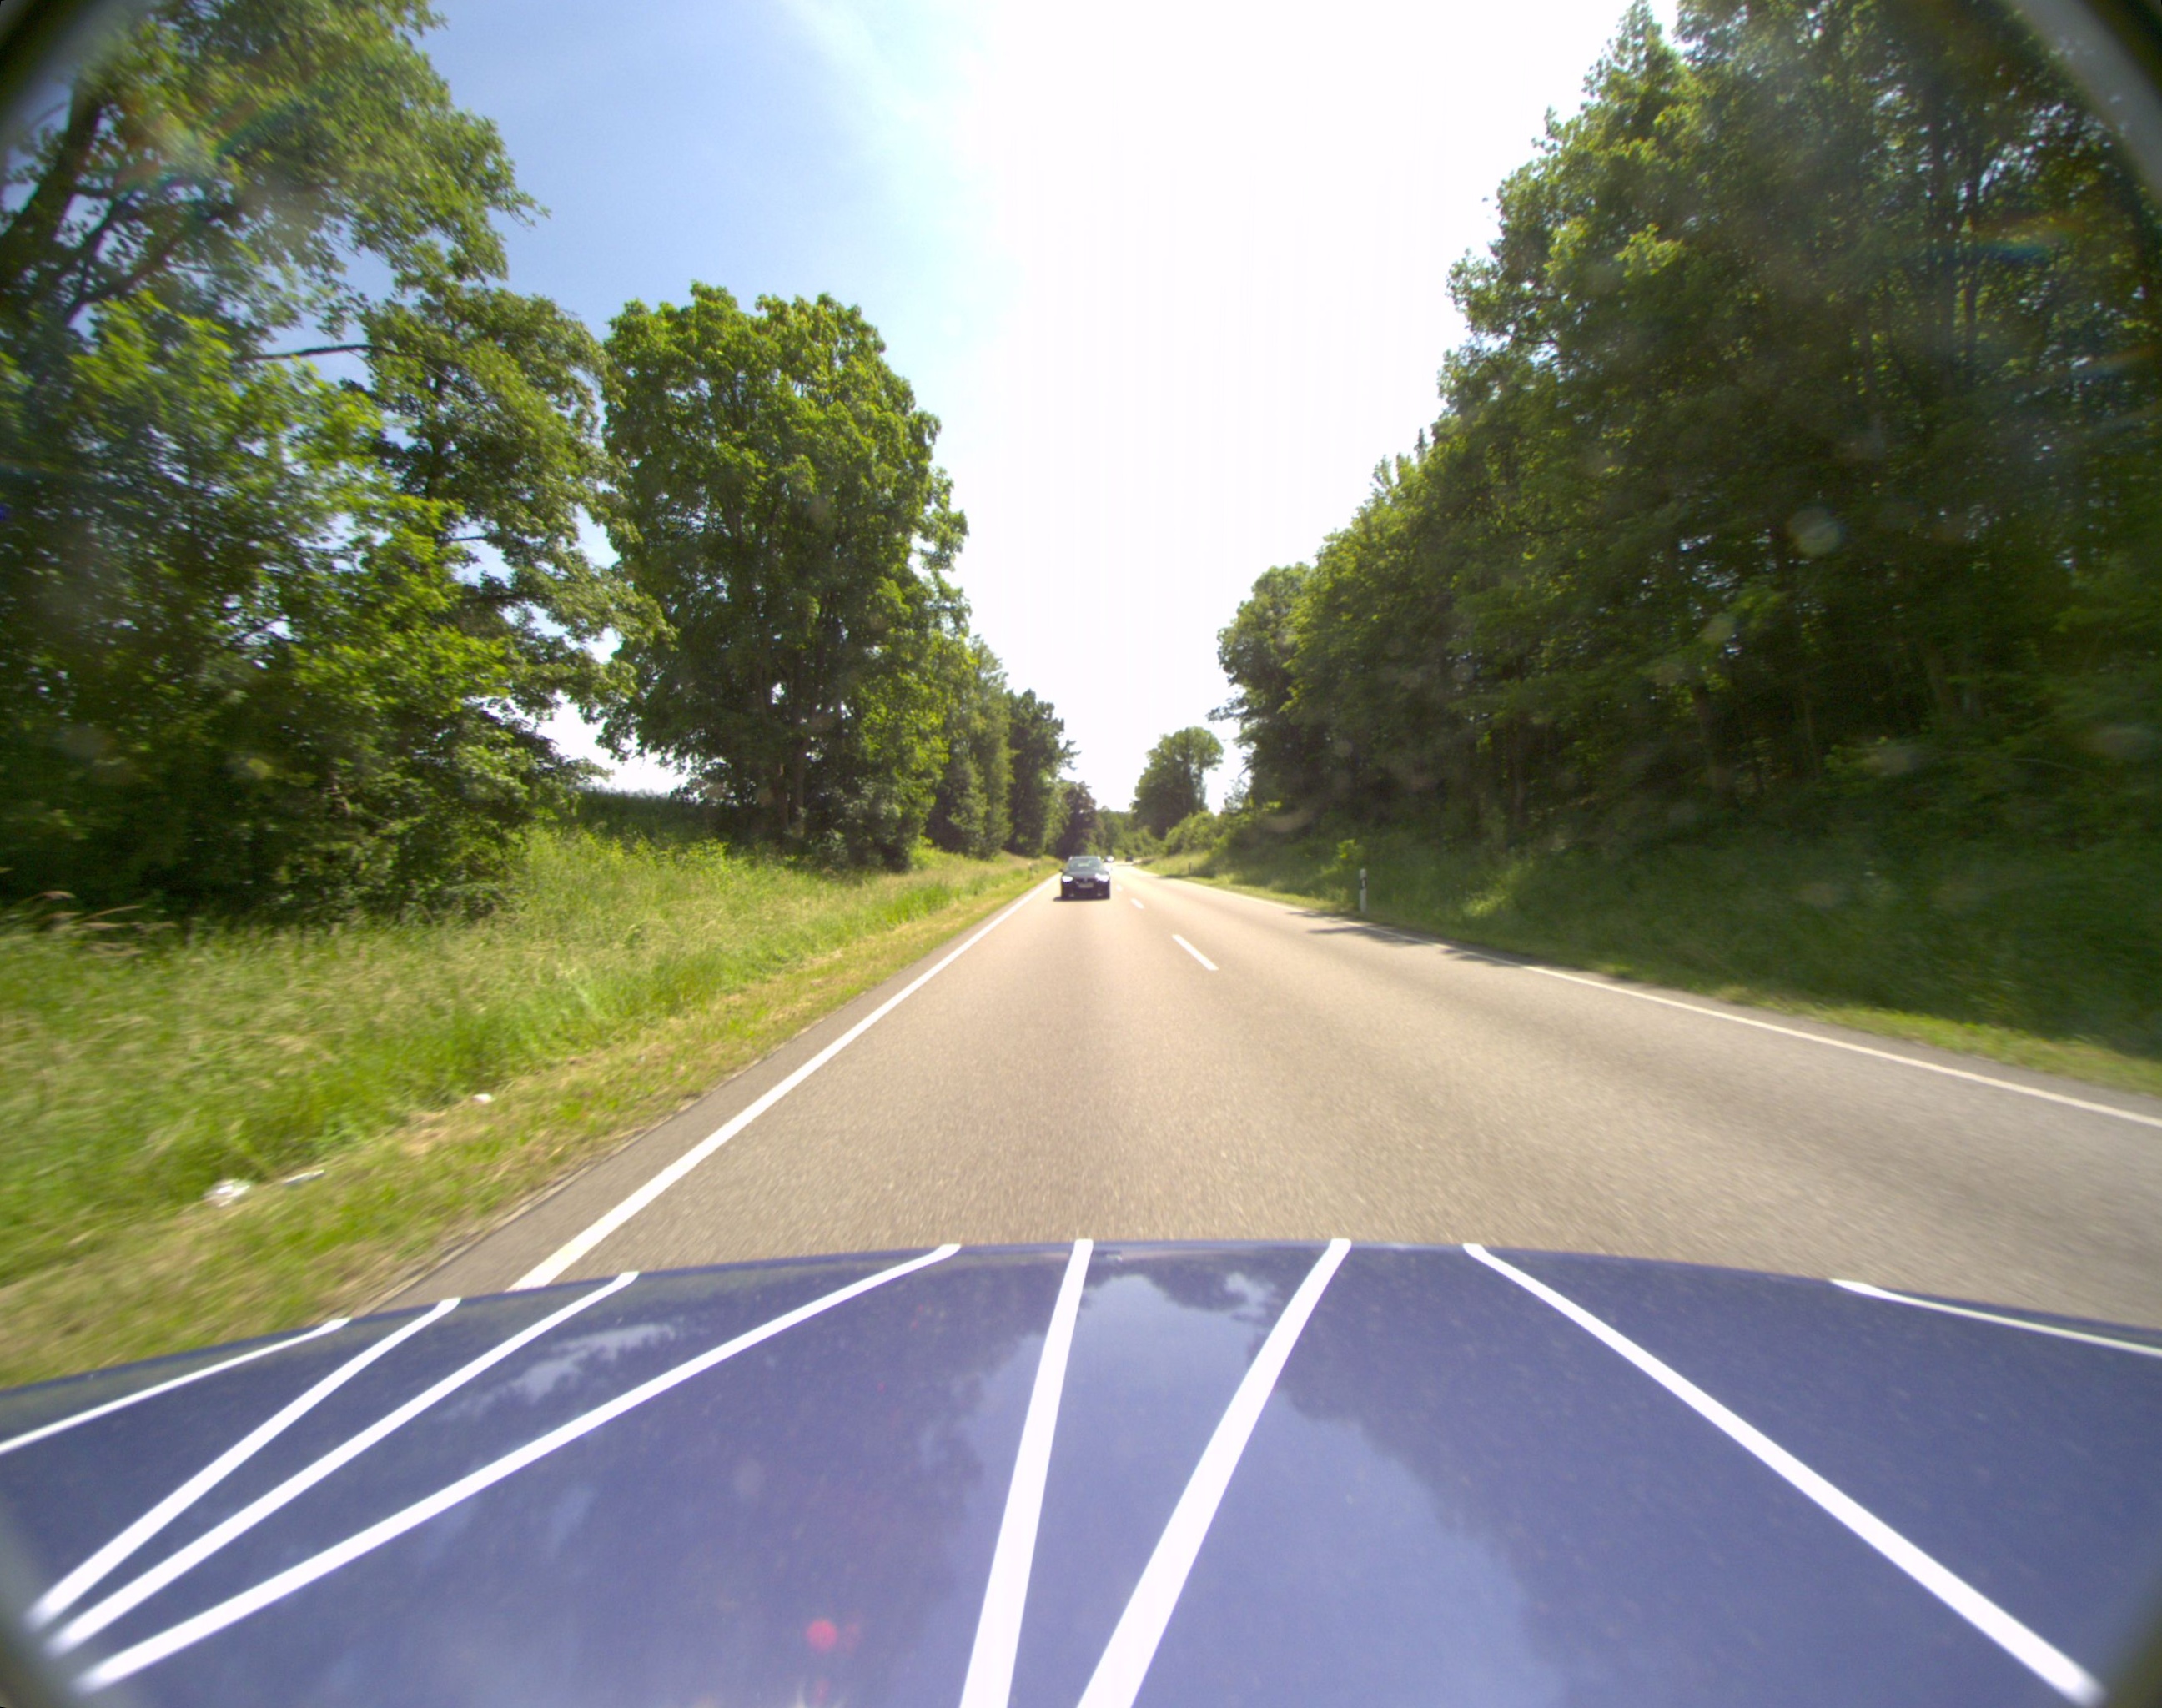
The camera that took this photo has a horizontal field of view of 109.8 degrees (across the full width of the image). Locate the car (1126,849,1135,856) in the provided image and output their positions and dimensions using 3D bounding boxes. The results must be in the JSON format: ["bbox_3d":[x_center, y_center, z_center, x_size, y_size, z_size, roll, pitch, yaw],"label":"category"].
[{"bbox_3d":[11.727,-0.358,179.722,1.775,1.561,4.221,0,0,9],"label":"car"}]

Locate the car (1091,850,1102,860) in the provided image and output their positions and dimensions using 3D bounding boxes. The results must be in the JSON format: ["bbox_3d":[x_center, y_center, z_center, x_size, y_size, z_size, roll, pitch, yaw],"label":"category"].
[{"bbox_3d":[2.708,0.192,131.047,1.811,1.580,4.000,-1,0,2],"label":"car"}]

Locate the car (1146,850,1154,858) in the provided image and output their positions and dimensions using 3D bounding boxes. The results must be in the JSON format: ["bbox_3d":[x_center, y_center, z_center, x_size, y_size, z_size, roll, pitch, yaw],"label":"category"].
[{"bbox_3d":[17.907,-0.012,196.929,1.997,2.002,4.002,-1,0,7],"label":"car"}]

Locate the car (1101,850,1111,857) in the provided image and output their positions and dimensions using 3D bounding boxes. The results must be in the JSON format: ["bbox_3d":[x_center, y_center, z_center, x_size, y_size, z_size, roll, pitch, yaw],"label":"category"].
[{"bbox_3d":[5.486,-0.167,165.068,1.811,1.580,4.002,-1,0,6],"label":"car"}]

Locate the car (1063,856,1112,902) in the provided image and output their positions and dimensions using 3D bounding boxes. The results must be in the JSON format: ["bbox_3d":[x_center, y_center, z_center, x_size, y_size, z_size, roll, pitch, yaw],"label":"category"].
[{"bbox_3d":[0.206,0.845,27.795,1.662,1.531,3.486,-1,0,0],"label":"car"}]
